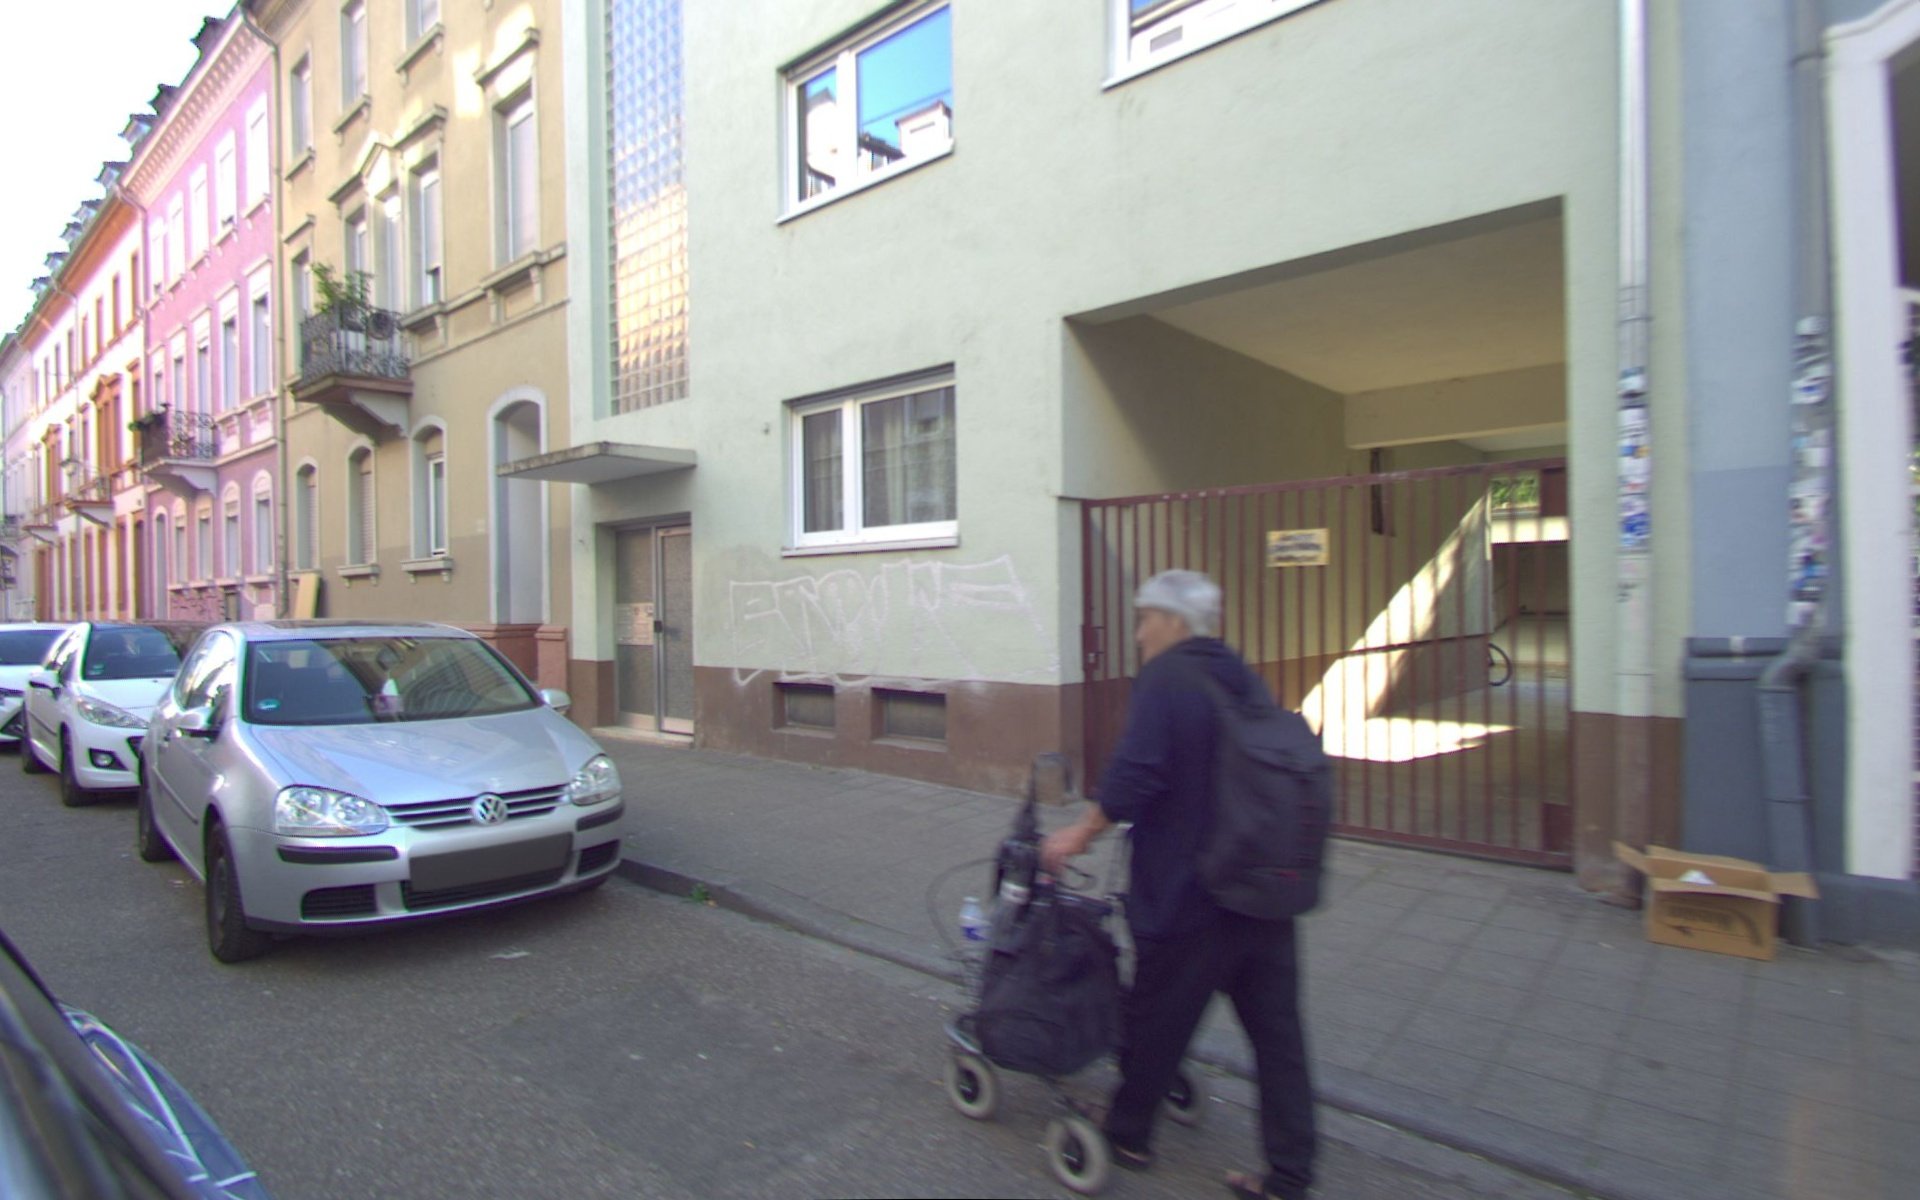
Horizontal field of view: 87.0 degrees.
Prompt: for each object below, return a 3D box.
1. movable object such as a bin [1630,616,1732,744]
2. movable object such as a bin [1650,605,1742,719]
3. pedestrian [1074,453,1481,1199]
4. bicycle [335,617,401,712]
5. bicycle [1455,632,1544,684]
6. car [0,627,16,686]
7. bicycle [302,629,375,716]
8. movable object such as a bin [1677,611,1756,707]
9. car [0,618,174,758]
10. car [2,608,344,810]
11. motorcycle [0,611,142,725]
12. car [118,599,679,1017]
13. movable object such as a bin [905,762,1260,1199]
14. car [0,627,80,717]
[{"bbox_3d":[6.457,0.692,9.068,0.684,1.071,0.514,-1,0,41],"label":"movable object such as a bin"},{"bbox_3d":[7.325,0.596,10.071,0.684,1.071,0.514,-1,0,41],"label":"movable object such as a bin"},{"bbox_3d":[0.767,0.577,2.410,0.671,1.720,0.706,-1,1,41],"label":"pedestrian"},{"bbox_3d":[-8.297,0.875,14.160,1.494,1.269,0.315,-1,0,41],"label":"bicycle"},{"bbox_3d":[8.138,0.857,15.277,1.097,0.734,0.437,-1,0,44],"label":"bicycle"},{"bbox_3d":[-24.067,1.319,24.169,4.378,1.353,1.748,-1,-2,41],"label":"car"},{"bbox_3d":[-8.504,0.958,13.832,1.494,1.110,0.413,-1,0,41],"label":"bicycle"},{"bbox_3d":[8.866,0.672,11.862,0.684,1.071,0.514,-1,0,41],"label":"movable object such as a bin"},{"bbox_3d":[-11.320,0.974,12.466,4.197,1.473,1.769,-1,-2,40],"label":"car"},{"bbox_3d":[-7.386,0.837,9.360,3.998,1.463,1.771,-1,-1,41],"label":"car"},{"bbox_3d":[-13.235,0.955,14.668,0.818,1.490,1.954,-2,1,21],"label":"motorcycle"},{"bbox_3d":[-3.331,0.783,5.594,4.035,1.466,1.661,-2,-2,45],"label":"car"},{"bbox_3d":[0.357,0.983,2.769,0.585,0.904,0.836,-1,1,41],"label":"movable object such as a bin"},{"bbox_3d":[-16.383,1.156,17.204,4.303,1.401,1.707,-1,-2,43],"label":"car"}]
